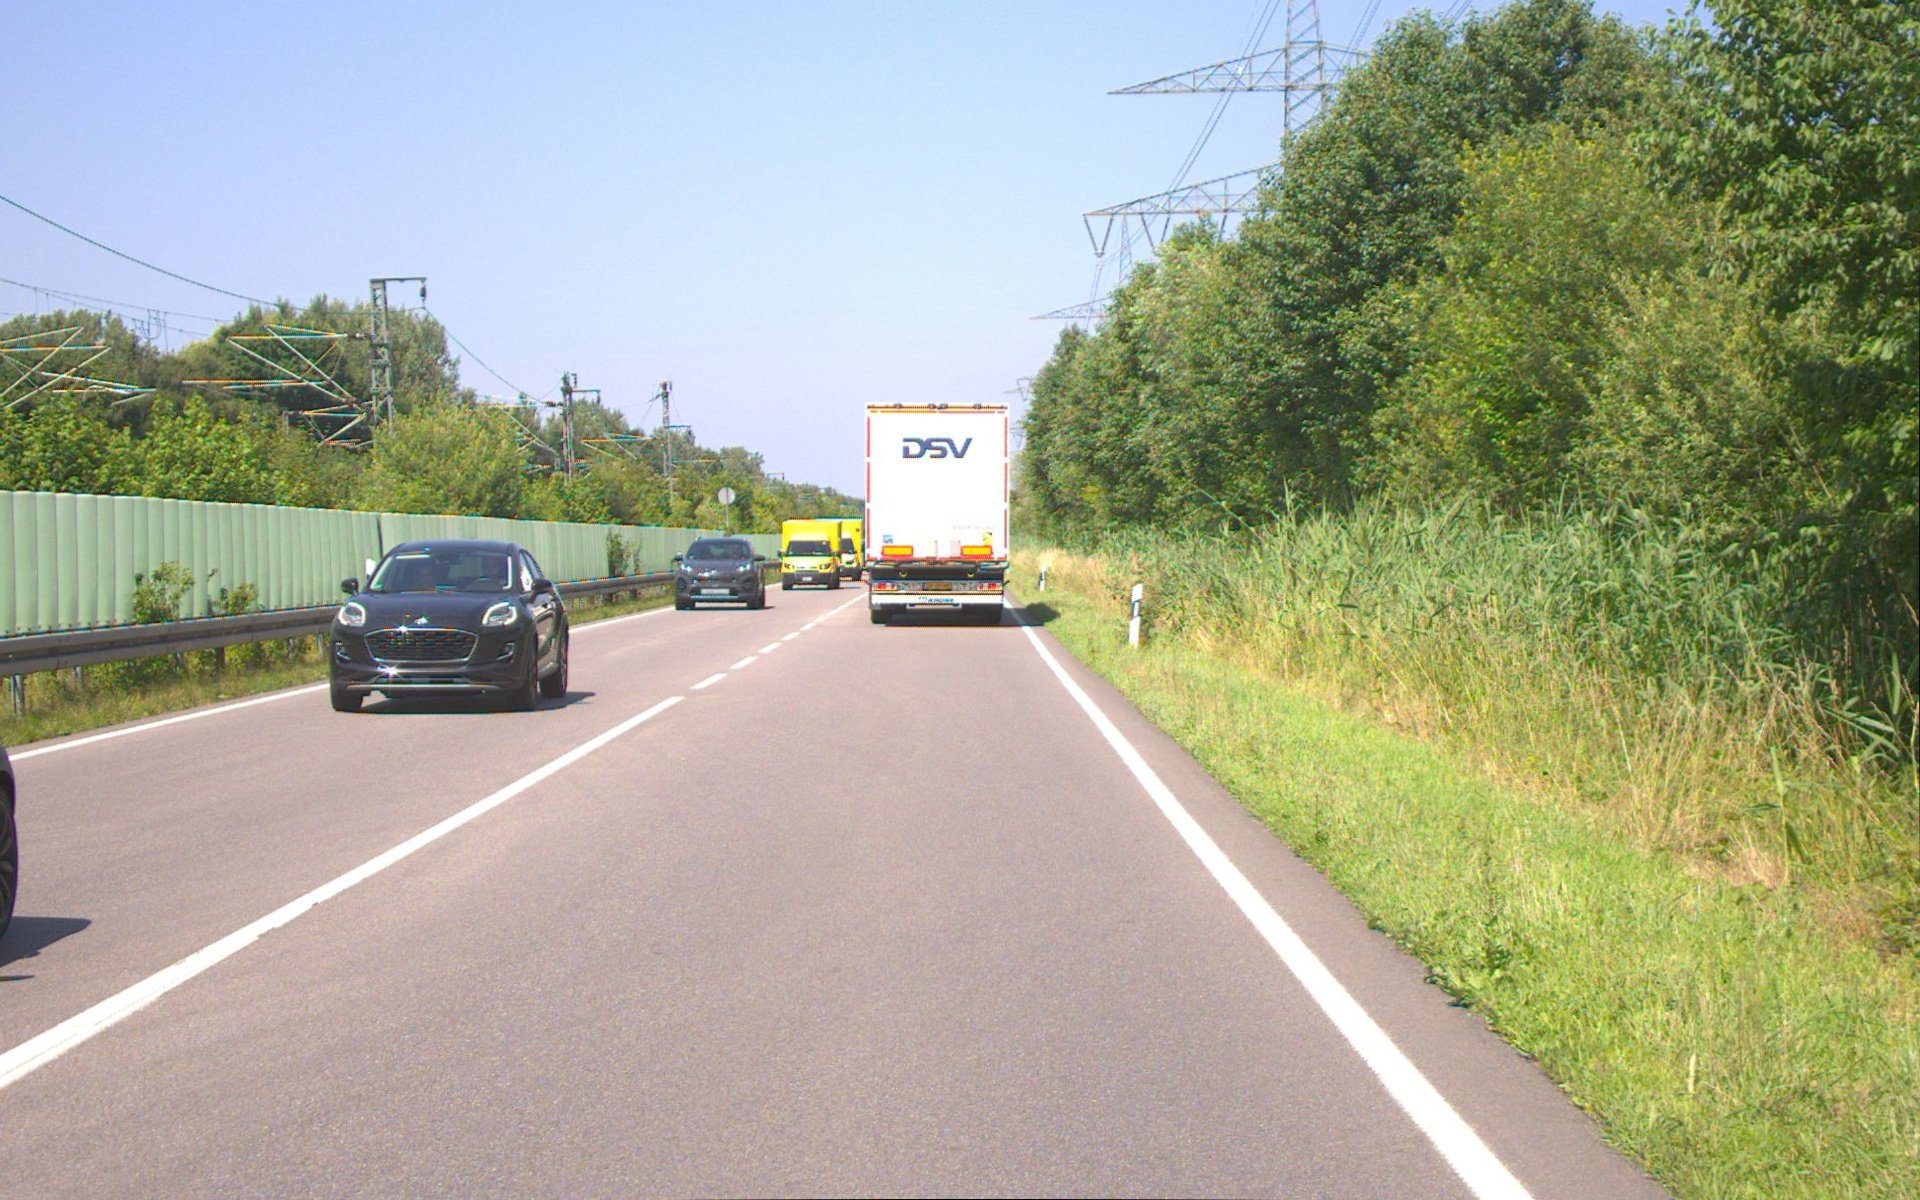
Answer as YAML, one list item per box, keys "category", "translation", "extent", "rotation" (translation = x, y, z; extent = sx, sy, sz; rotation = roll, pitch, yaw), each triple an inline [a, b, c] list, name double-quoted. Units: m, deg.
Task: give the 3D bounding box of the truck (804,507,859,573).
- category: "truck"
  translation: [-5.197, -2.451, 139.561]
  extent: [2.080, 2.637, 5.705]
  rotation: [0, 1, 0]

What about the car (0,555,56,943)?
- category: "car"
  translation: [-4.301, 0.573, 11.604]
  extent: [1.506, 1.430, 3.743]
  rotation: [0, 1, 0]

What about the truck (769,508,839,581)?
- category: "truck"
  translation: [-5.112, -1.841, 113.290]
  extent: [1.993, 2.340, 6.012]
  rotation: [0, 1, 0]

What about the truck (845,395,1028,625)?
- category: "truck"
  translation: [-0.463, -1.685, 66.530]
  extent: [3.192, 4.029, 12.007]
  rotation: [0, 1, 0]

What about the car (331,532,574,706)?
- category: "car"
  translation: [-4.652, 0.127, 32.024]
  extent: [1.673, 1.509, 4.289]
  rotation: [0, 1, -1]

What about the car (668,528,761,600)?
- category: "car"
  translation: [-5.594, -0.841, 78.685]
  extent: [1.801, 1.582, 4.371]
  rotation: [0, 1, 0]
